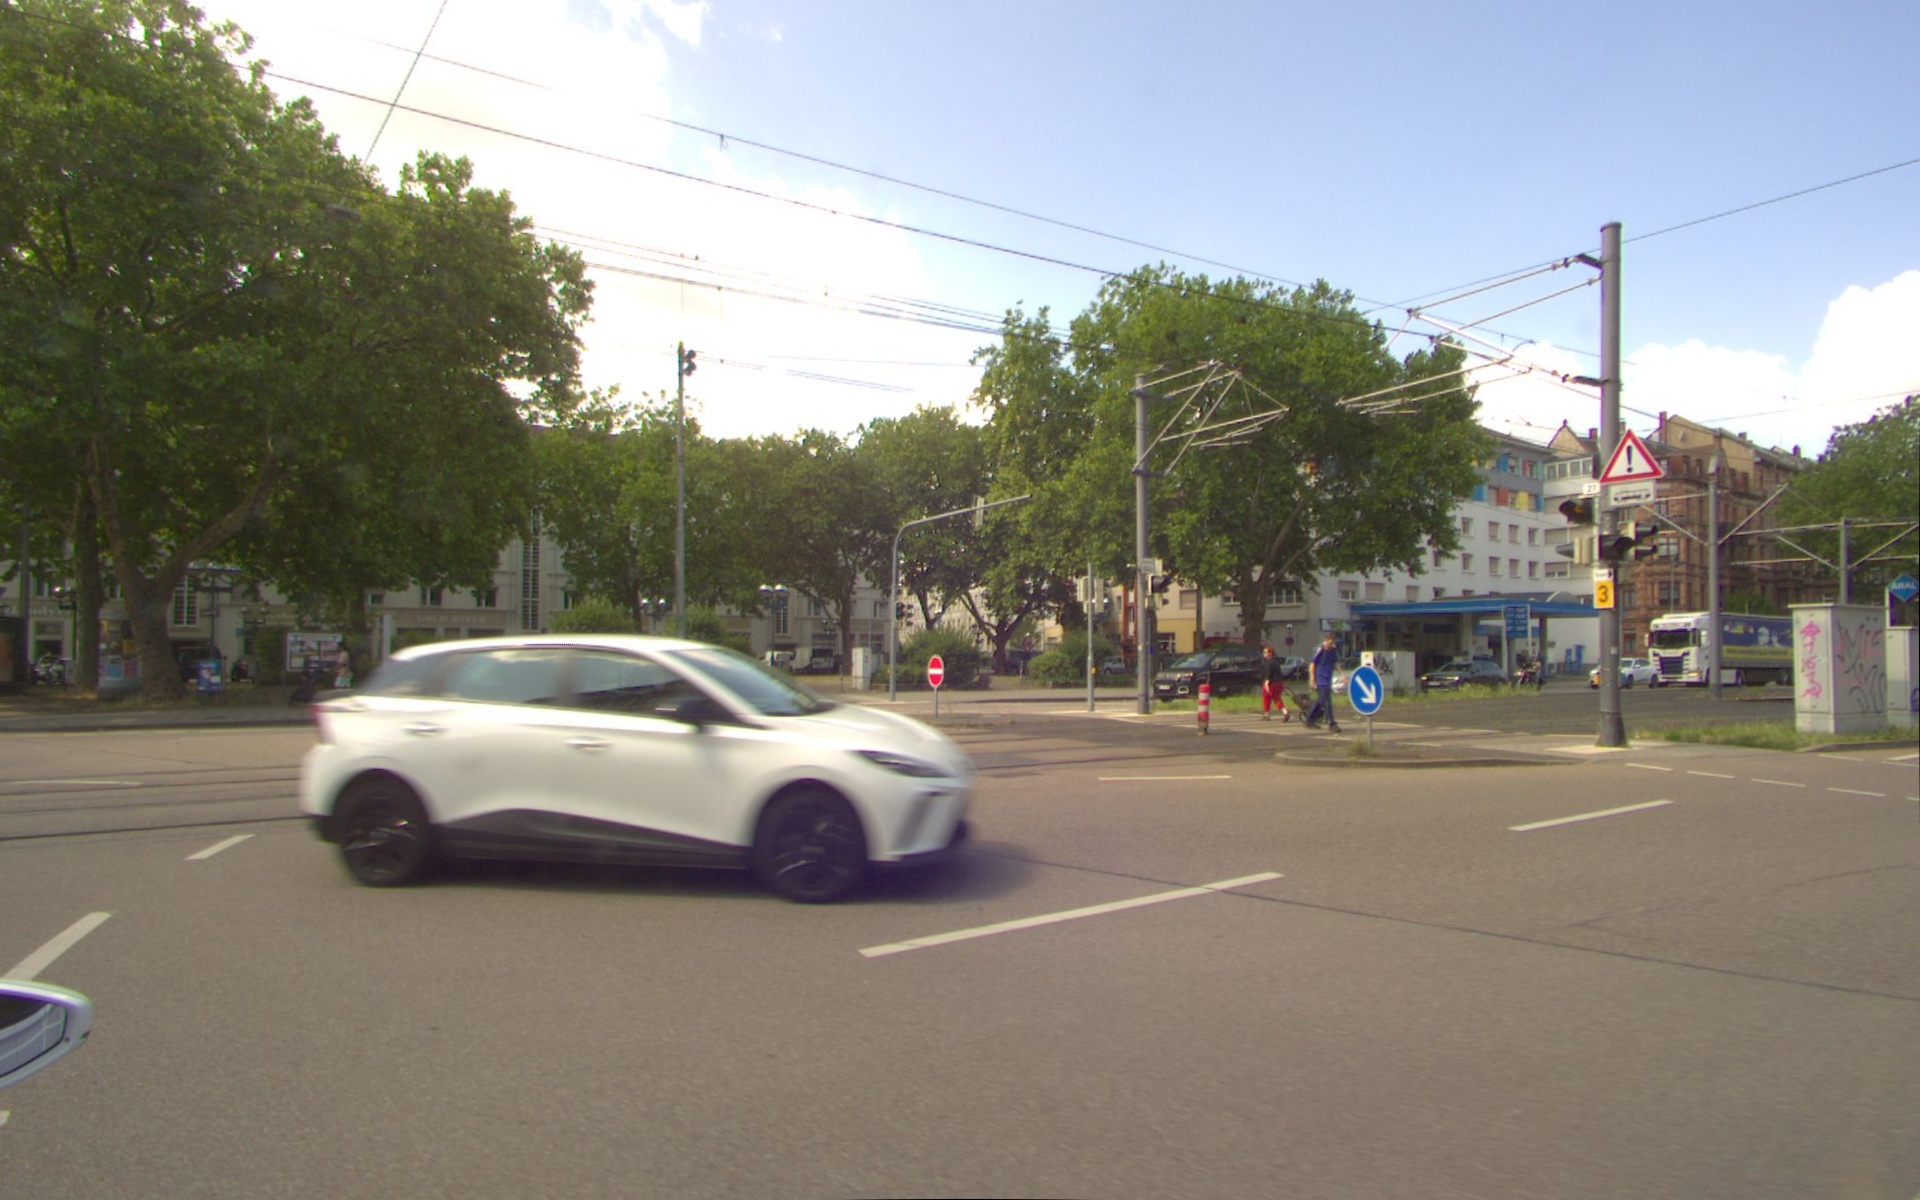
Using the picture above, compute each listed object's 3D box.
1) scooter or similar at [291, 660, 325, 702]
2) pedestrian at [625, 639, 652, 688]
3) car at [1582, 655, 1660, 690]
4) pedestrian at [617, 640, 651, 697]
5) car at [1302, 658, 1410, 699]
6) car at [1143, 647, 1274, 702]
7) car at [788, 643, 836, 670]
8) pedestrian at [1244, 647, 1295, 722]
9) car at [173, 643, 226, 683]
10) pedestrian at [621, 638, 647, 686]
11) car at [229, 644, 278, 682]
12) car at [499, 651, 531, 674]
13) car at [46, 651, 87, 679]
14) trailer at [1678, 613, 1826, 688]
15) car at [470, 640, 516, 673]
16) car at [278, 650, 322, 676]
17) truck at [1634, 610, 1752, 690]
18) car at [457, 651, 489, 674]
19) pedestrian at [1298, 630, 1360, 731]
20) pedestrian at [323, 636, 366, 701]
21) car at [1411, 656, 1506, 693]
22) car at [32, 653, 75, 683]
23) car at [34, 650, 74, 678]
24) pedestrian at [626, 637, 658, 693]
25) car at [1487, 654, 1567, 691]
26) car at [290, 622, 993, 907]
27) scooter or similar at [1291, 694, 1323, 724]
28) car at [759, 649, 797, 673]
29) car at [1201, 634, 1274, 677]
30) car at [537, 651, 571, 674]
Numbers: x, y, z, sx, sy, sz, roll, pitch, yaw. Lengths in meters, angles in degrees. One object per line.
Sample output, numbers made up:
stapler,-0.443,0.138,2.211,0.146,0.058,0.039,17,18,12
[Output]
scooter or similar,-16.729,2.074,25.707,0.699,1.069,0.488,2,-3,-32
pedestrian,-11.724,2.318,36.499,0.597,1.772,0.695,-1,-2,33
car,34.004,3.713,51.464,4.079,1.726,1.844,2,-3,-32
pedestrian,-10.176,2.116,31.255,0.683,1.744,0.716,-1,-2,33
car,15.228,2.979,38.402,4.270,1.484,1.724,2,-3,-33
car,8.471,2.492,33.977,4.360,1.748,1.844,2,-3,-32
car,-11.288,4.272,75.975,2.075,1.929,4.469,2,-3,-31
pedestrian,6.350,1.716,20.547,0.768,1.510,0.652,-2,-3,44
car,-41.951,3.481,55.312,1.973,2.101,3.978,2,-4,-32
pedestrian,-12.346,2.348,37.892,0.597,1.772,0.695,-1,-2,33
car,-39.722,3.537,56.370,1.973,2.101,3.978,2,-4,-32
car,-33.001,4.614,74.206,1.720,1.657,3.980,2,-3,-31
car,-46.247,3.336,51.865,1.454,1.406,3.210,3,-4,-40
trailer,46.998,2.981,59.249,11.488,4.128,2.903,2,-3,-31
car,-29.880,3.589,64.029,1.975,2.038,3.975,2,-3,-35
car,-37.948,3.631,57.660,1.974,1.439,3.978,2,-4,-32
truck,40.619,2.779,55.465,6.498,4.200,2.904,2,-3,-30
car,-35.392,4.533,72.710,1.720,1.657,3.980,2,-3,-31
pedestrian,6.608,1.430,17.949,0.734,1.753,0.768,2,-2,-34
pedestrian,-16.044,1.776,26.115,0.910,1.666,0.567,2,-2,-32
car,21.078,3.109,42.332,3.920,1.465,1.844,1,-3,-32
car,-44.114,3.287,48.769,1.455,1.406,3.041,3,-4,-42
car,-54.462,3.841,60.225,1.453,1.686,3.045,2,-4,-37
pedestrian,-10.276,2.084,32.371,0.683,1.786,0.667,-1,-2,33
car,25.980,3.304,45.855,3.704,1.582,1.676,2,-3,-33
car,-1.901,0.942,6.660,4.051,1.525,1.821,0,-2,8
scooter or similar,6.940,2.171,20.039,0.516,0.542,0.308,0,-2,45
car,-15.630,5.197,86.009,1.972,1.988,3.980,2,-3,-31
car,16.513,3.290,59.527,3.947,2.450,2.101,2,-3,-33
car,-30.699,4.691,75.655,1.720,1.657,3.980,2,-3,-31
